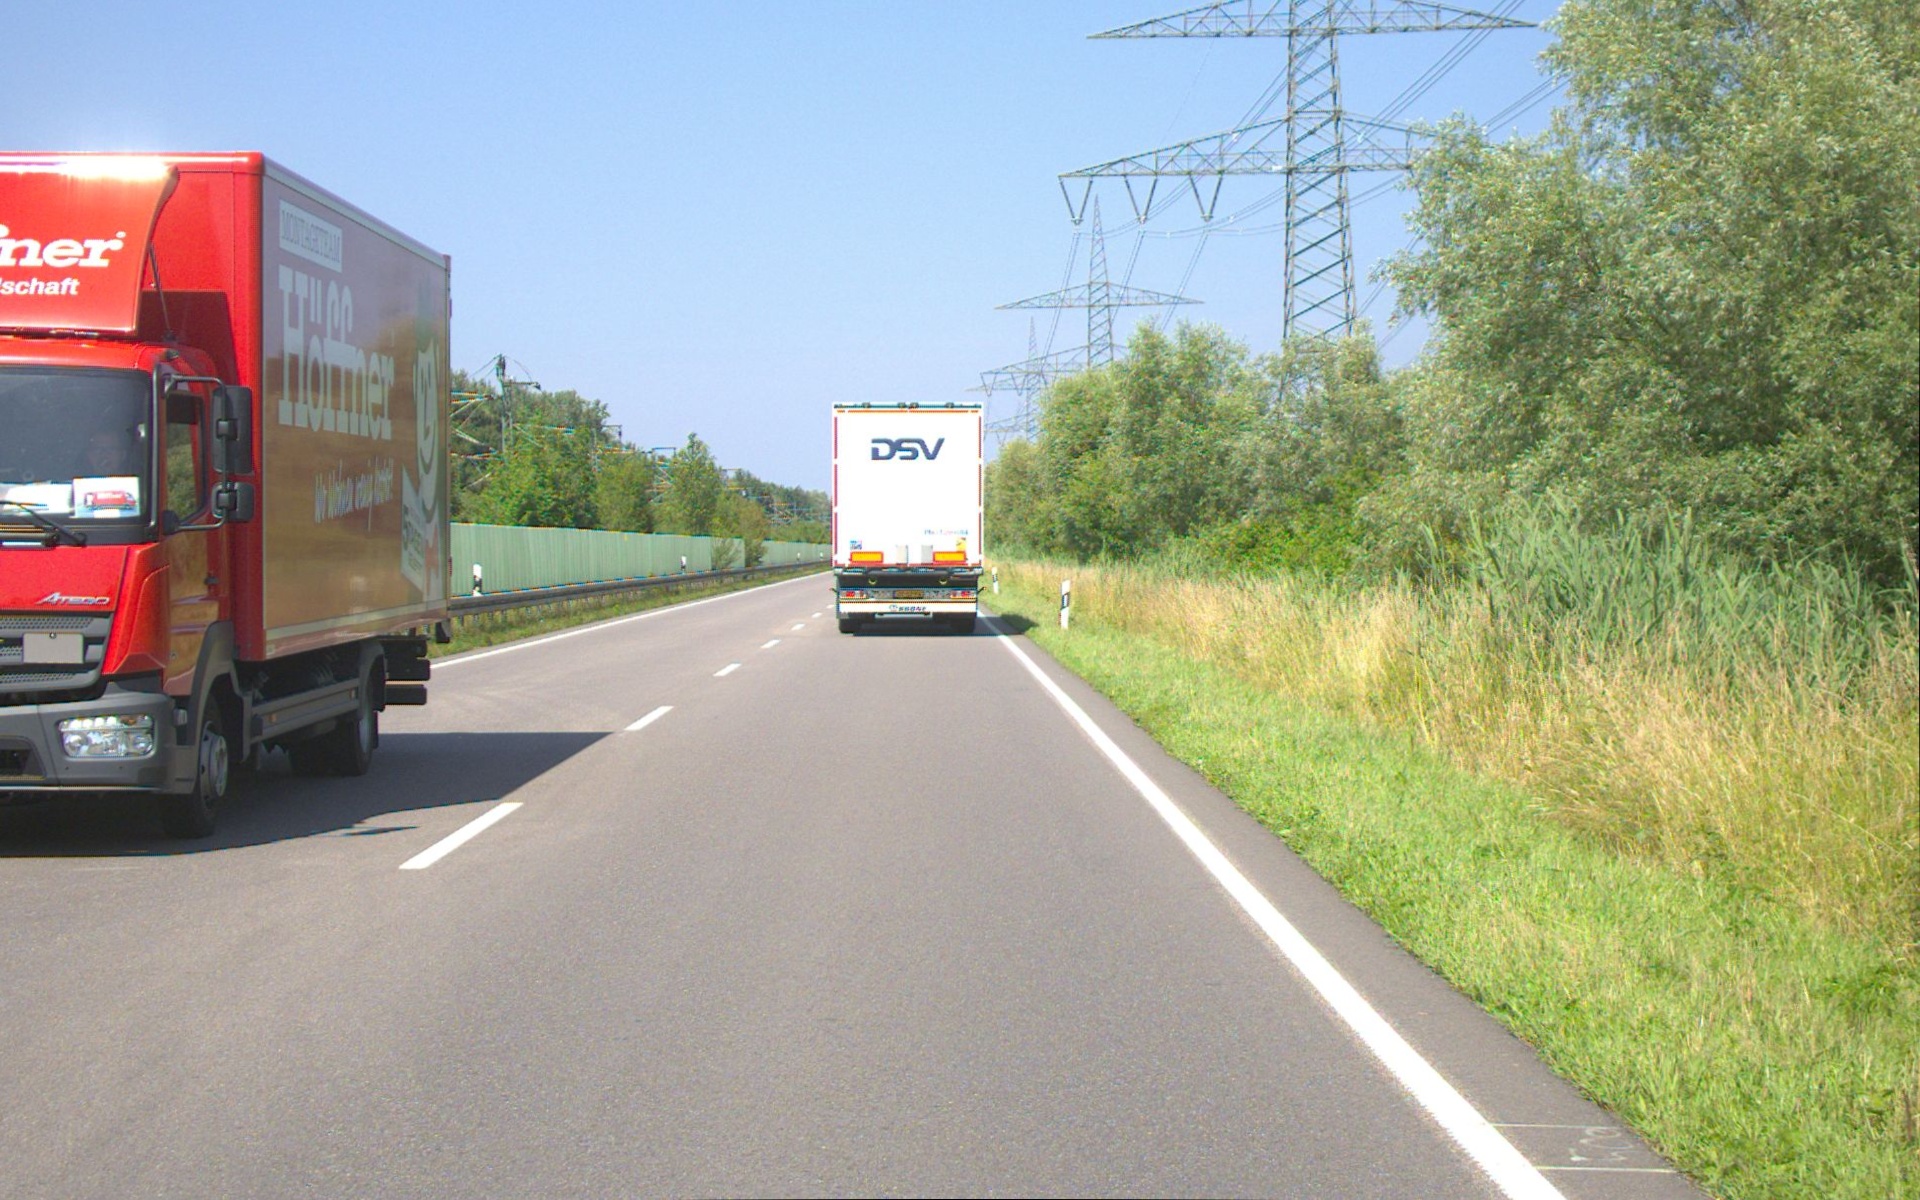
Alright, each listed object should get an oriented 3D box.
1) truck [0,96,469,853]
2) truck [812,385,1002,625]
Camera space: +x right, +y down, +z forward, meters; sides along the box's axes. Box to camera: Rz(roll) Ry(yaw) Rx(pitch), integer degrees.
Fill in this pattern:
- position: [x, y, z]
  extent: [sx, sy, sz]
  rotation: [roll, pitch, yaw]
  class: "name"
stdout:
- position: [-4.969, -0.681, 21.049]
  extent: [2.734, 3.586, 9.528]
  rotation: [0, 1, -1]
  class: "truck"
- position: [-1.003, -1.713, 63.763]
  extent: [3.192, 4.029, 12.008]
  rotation: [0, 1, -1]
  class: "truck"
